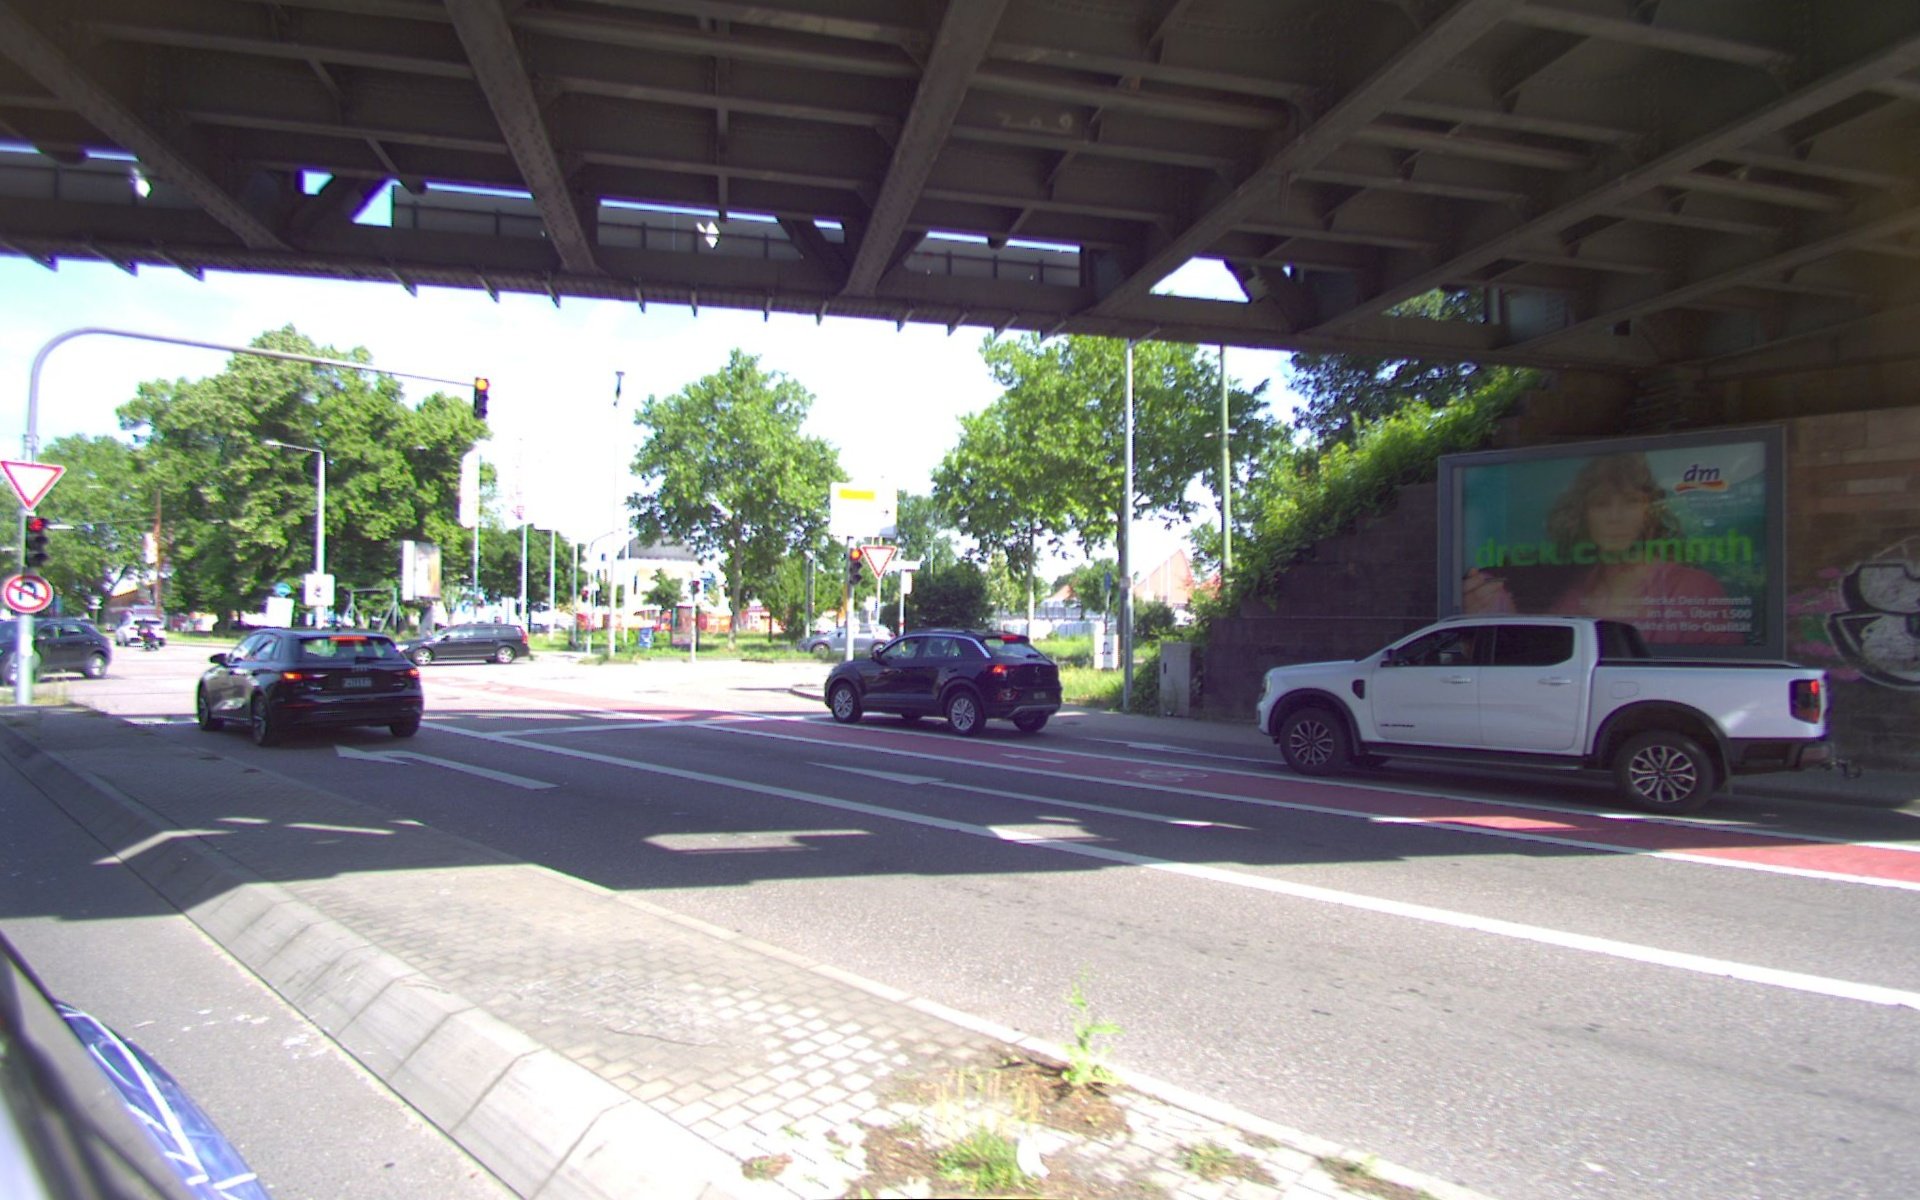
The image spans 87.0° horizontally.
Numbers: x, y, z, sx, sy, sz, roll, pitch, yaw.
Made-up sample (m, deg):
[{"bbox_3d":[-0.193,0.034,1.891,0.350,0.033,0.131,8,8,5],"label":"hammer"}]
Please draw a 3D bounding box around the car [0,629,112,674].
[{"bbox_3d":[-36.213,1.980,39.433,1.808,1.654,4.655,0,-2,14],"label":"car"}]

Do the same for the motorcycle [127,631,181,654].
[{"bbox_3d":[-39.628,2.075,49.799,0.773,1.092,1.970,-1,-1,20],"label":"motorcycle"}]

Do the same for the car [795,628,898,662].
[{"bbox_3d":[-5.094,1.992,45.411,4.385,1.426,1.708,1,-2,-14],"label":"car"}]

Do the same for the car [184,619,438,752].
[{"bbox_3d":[-8.654,1.007,13.359,4.119,1.458,1.762,0,-2,42],"label":"car"}]

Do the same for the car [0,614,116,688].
[{"bbox_3d":[-22.747,1.190,24.269,1.798,1.654,4.116,-1,0,-4],"label":"car"}]

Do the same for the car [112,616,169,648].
[{"bbox_3d":[-46.719,1.786,57.674,3.633,1.734,1.801,-1,0,39],"label":"car"}]

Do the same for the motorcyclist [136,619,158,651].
[{"bbox_3d":[-39.656,1.699,49.375,0.628,1.540,0.637,-1,-1,21],"label":"motorcyclist"}]

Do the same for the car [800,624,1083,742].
[{"bbox_3d":[-0.397,1.194,16.031,4.385,1.608,1.853,-1,-2,41],"label":"car"}]

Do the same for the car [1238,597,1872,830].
[{"bbox_3d":[5.923,0.997,10.701,5.448,1.875,1.973,-1,-4,41],"label":"car"}]

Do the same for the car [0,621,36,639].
[{"bbox_3d":[-83.597,2.657,89.770,3.821,1.527,1.903,-1,0,39],"label":"car"}]

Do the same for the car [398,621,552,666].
[{"bbox_3d":[-17.891,1.605,37.466,4.848,1.585,1.707,2,-2,-40],"label":"car"}]
